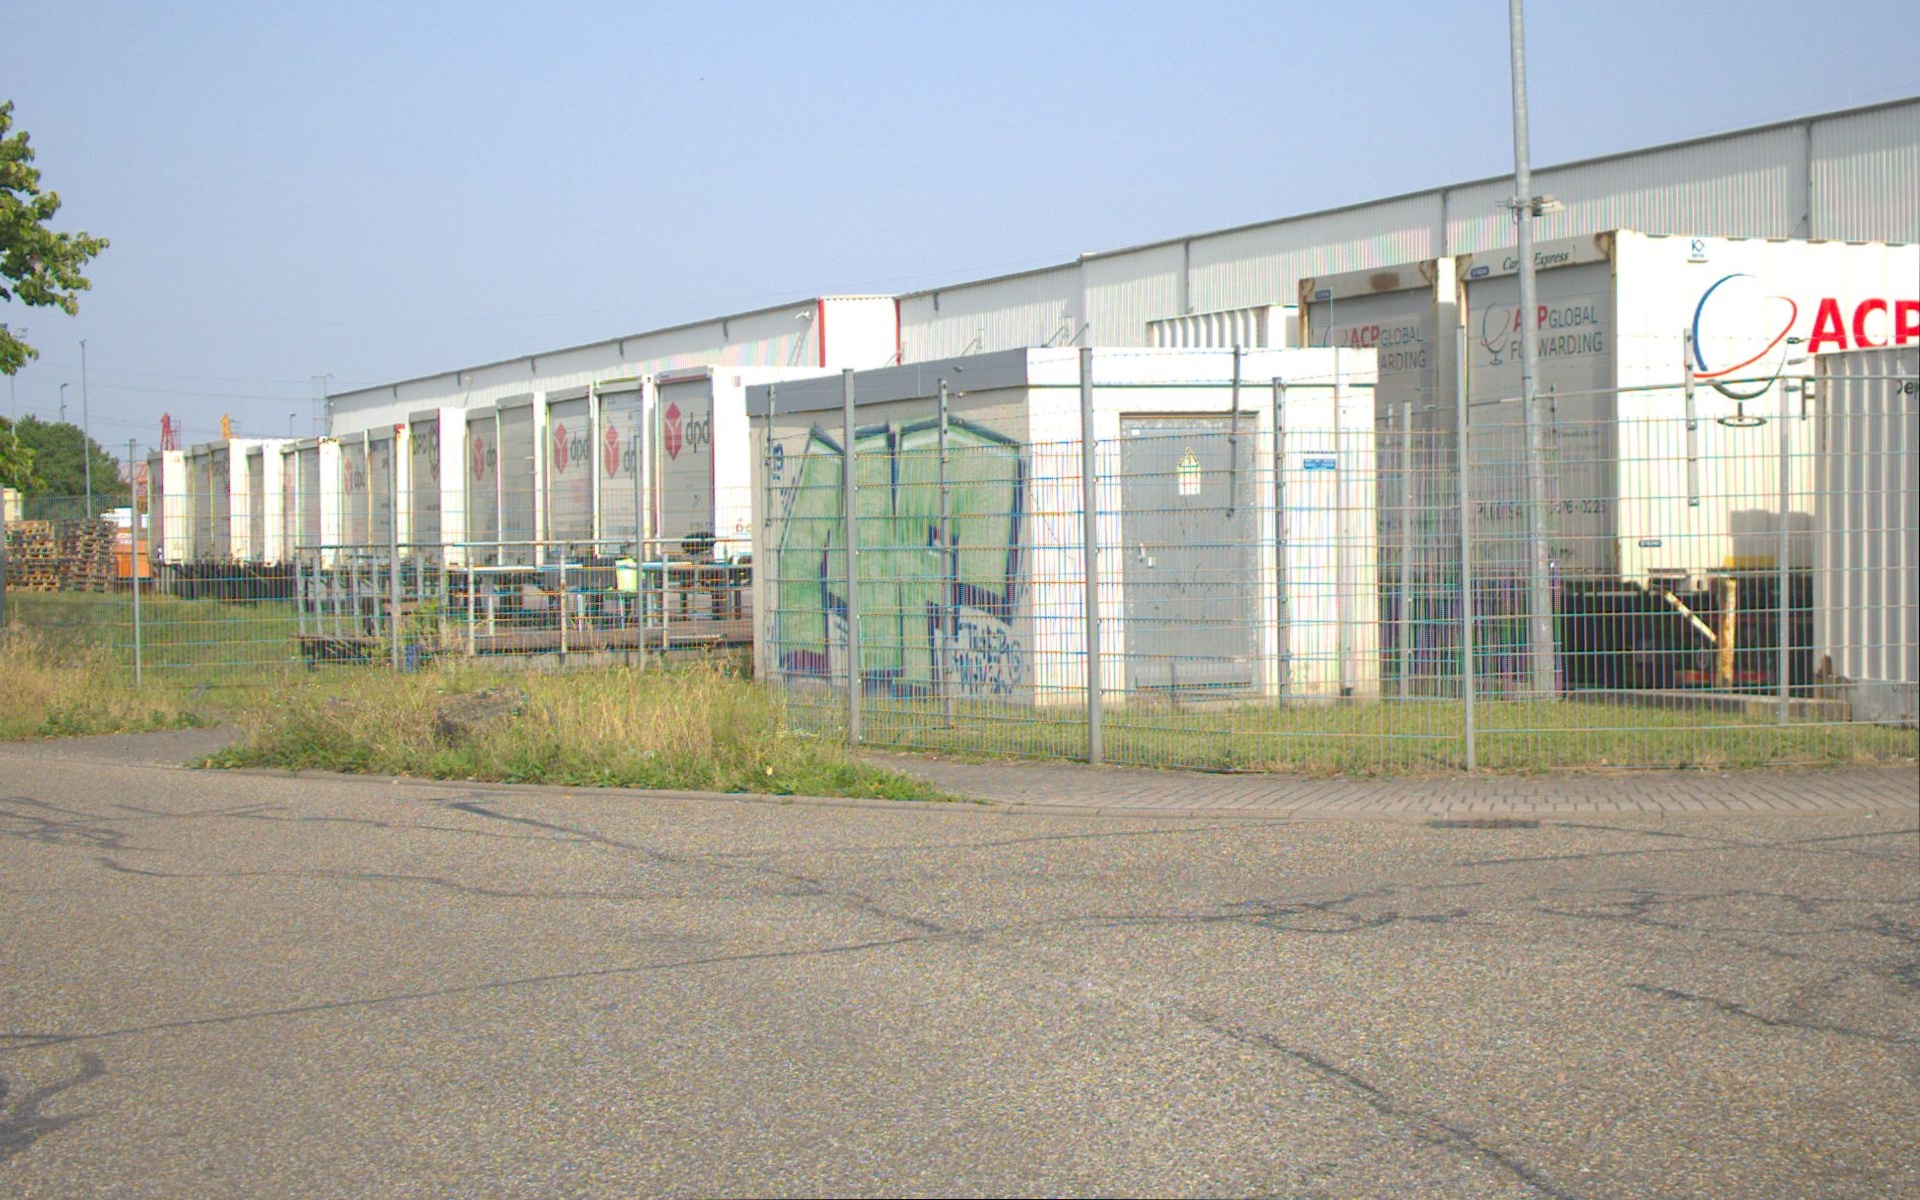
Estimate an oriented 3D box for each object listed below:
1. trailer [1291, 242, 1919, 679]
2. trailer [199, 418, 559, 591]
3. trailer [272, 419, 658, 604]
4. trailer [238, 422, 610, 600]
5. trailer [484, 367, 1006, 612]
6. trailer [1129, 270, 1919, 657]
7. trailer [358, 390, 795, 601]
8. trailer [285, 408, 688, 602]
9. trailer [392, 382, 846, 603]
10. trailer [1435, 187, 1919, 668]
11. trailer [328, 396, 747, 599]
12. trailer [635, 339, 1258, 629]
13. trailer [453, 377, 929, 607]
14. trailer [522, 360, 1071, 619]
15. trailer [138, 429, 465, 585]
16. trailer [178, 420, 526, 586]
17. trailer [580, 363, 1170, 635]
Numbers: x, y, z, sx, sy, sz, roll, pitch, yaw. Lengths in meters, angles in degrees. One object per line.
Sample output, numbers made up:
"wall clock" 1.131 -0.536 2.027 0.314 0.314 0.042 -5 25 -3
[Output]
"trailer" 7.707 -1.412 33.464 8.534 3.880 2.776 -2 2 -22
"trailer" -13.870 -2.249 82.182 7.960 3.880 2.776 1 1 -24
"trailer" -10.973 -1.938 76.358 7.960 3.880 2.776 1 1 -24
"trailer" -12.325 -2.019 79.182 7.960 3.880 2.776 1 1 -24
"trailer" -3.609 -1.812 58.217 8.305 3.880 2.776 1 1 -24
"trailer" 6.331 -1.386 36.289 8.730 3.748 2.791 -1 1 -24
"trailer" -7.498 -1.997 67.389 7.960 3.880 2.776 1 1 -24
"trailer" -10.055 -1.976 73.095 7.960 3.880 2.776 1 1 -24
"trailer" -6.386 -1.967 64.579 7.960 3.880 2.776 1 1 -24
"trailer" 8.720 -1.451 30.631 8.534 3.880 2.776 -1 -1 -22
"trailer" -8.609 -2.049 70.258 7.960 3.880 2.776 1 1 -24
"trailer" -0.149 -1.603 49.695 8.534 3.880 2.776 1 1 -24
"trailer" -4.828 -1.887 62.007 8.031 3.880 2.776 1 1 -24
"trailer" -2.593 -1.708 55.316 8.305 3.880 2.776 1 1 -24
"trailer" -17.317 -2.405 90.466 7.960 3.880 2.743 1 1 -24
"trailer" -15.007 -2.371 84.969 7.960 3.880 2.776 1 1 -24
"trailer" -1.266 -1.480 52.602 8.534 3.880 2.776 1 1 -24
